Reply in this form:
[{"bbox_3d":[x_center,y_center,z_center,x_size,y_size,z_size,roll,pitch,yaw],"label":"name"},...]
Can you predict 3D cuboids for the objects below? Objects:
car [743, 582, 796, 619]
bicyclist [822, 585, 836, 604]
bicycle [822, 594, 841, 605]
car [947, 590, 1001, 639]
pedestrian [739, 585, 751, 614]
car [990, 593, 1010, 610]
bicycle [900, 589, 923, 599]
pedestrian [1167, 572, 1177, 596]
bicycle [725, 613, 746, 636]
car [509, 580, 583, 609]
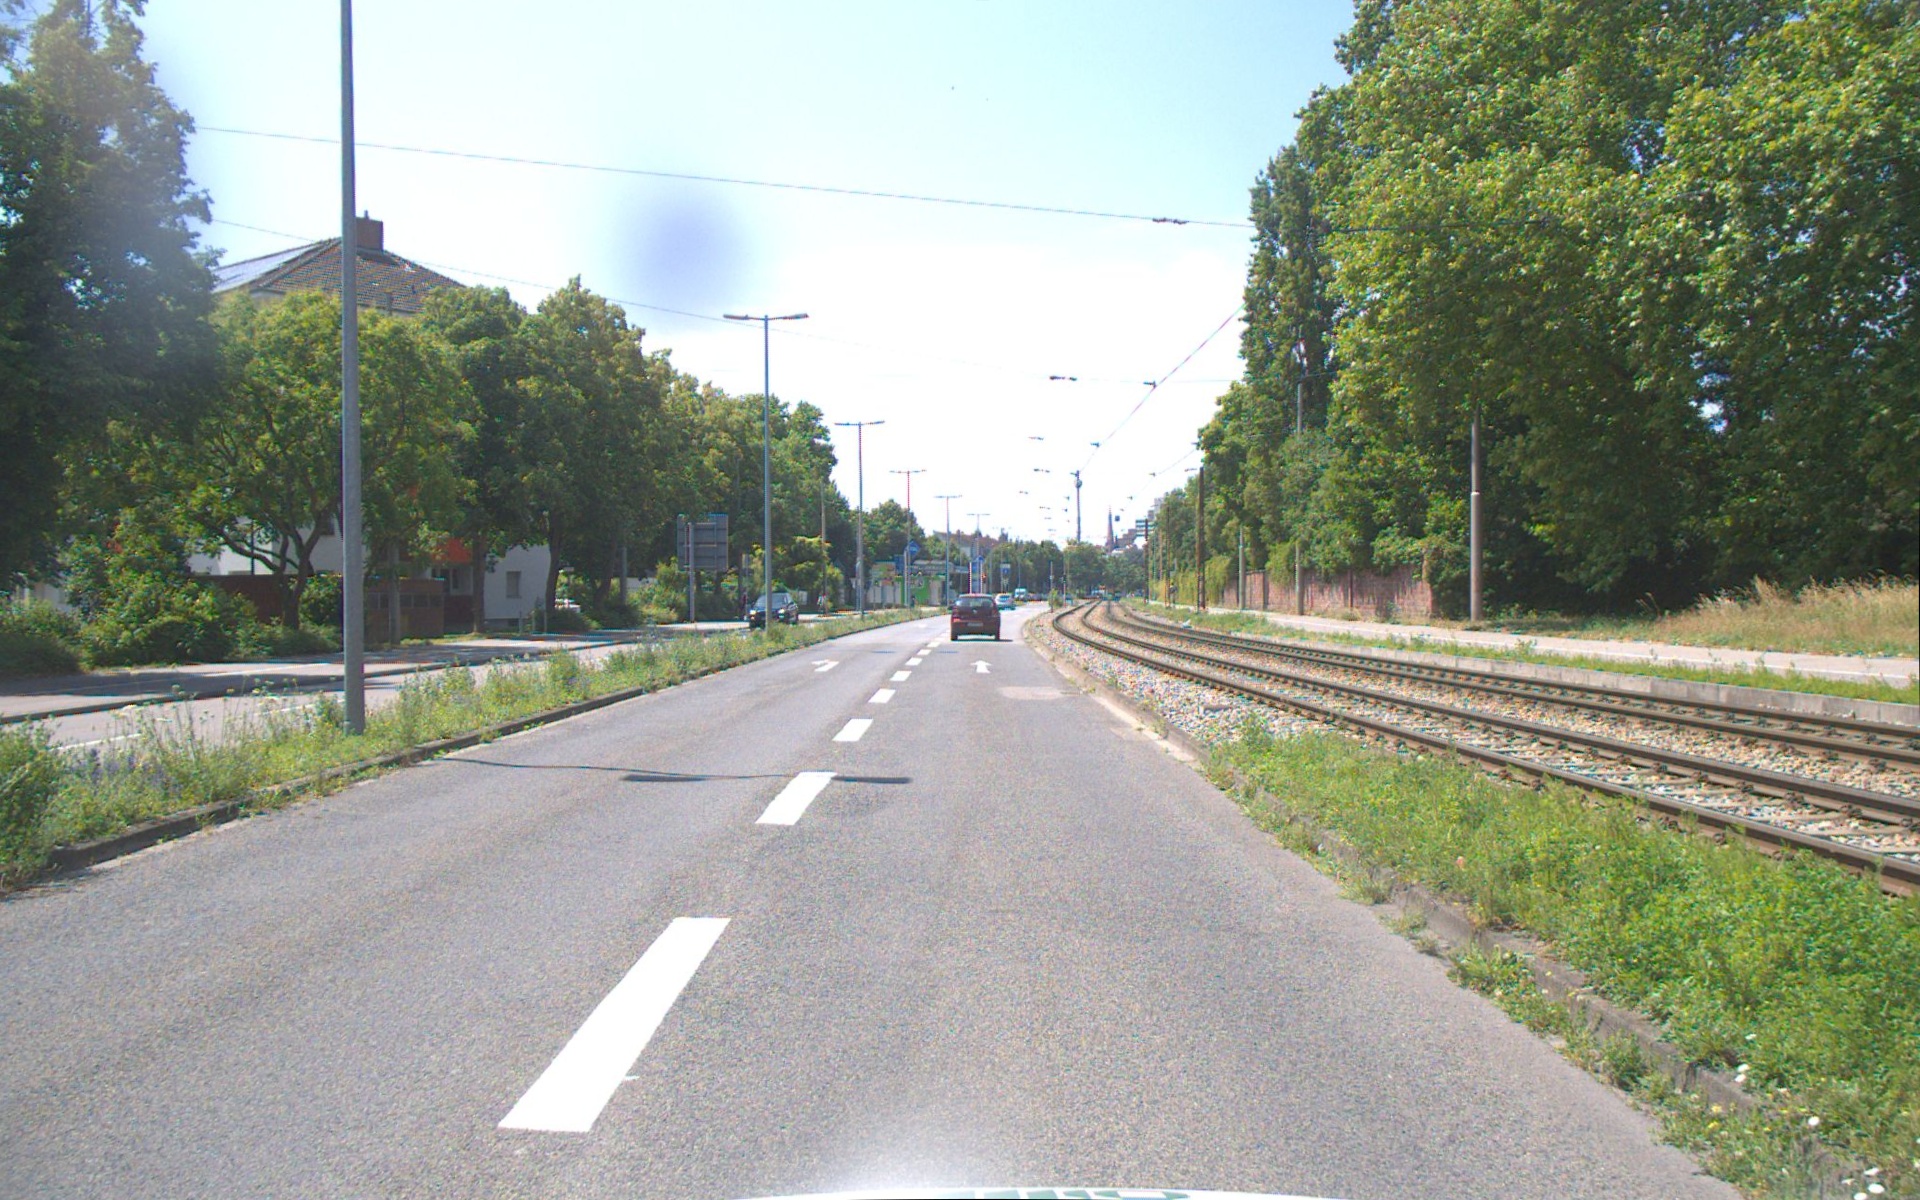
[{"bbox_3d":[-9.069,0.024,79.147,1.883,1.654,4.757,-2,0,1],"label":"car"},{"bbox_3d":[-9.759,-0.394,123.112,0.954,1.427,0.485,-2,1,-37],"label":"bicyclist"},{"bbox_3d":[-9.572,-0.066,123.257,1.417,0.787,0.491,-2,1,-37],"label":"bicycle"},{"bbox_3d":[0.444,0.475,53.629,1.668,1.503,3.716,2,-1,0],"label":"car"},{"bbox_3d":[-13.303,-0.017,102.323,0.537,1.748,0.604,-1,0,17],"label":"pedestrian"},{"bbox_3d":[3.700,0.127,153.090,1.668,1.506,3.716,2,0,0],"label":"car"},{"bbox_3d":[-5.549,-0.662,189.967,2.503,1.056,1.085,1,0,-9],"label":"bicycle"},{"bbox_3d":[15.584,-1.205,121.779,0.647,1.756,0.817,-1,0,4],"label":"pedestrian"},{"bbox_3d":[-13.873,1.523,102.310,0.632,1.351,1.574,-2,1,17],"label":"bicycle"},{"bbox_3d":[-28.252,-0.388,112.976,4.575,1.789,1.998,-2,1,-5],"label":"car"}]
